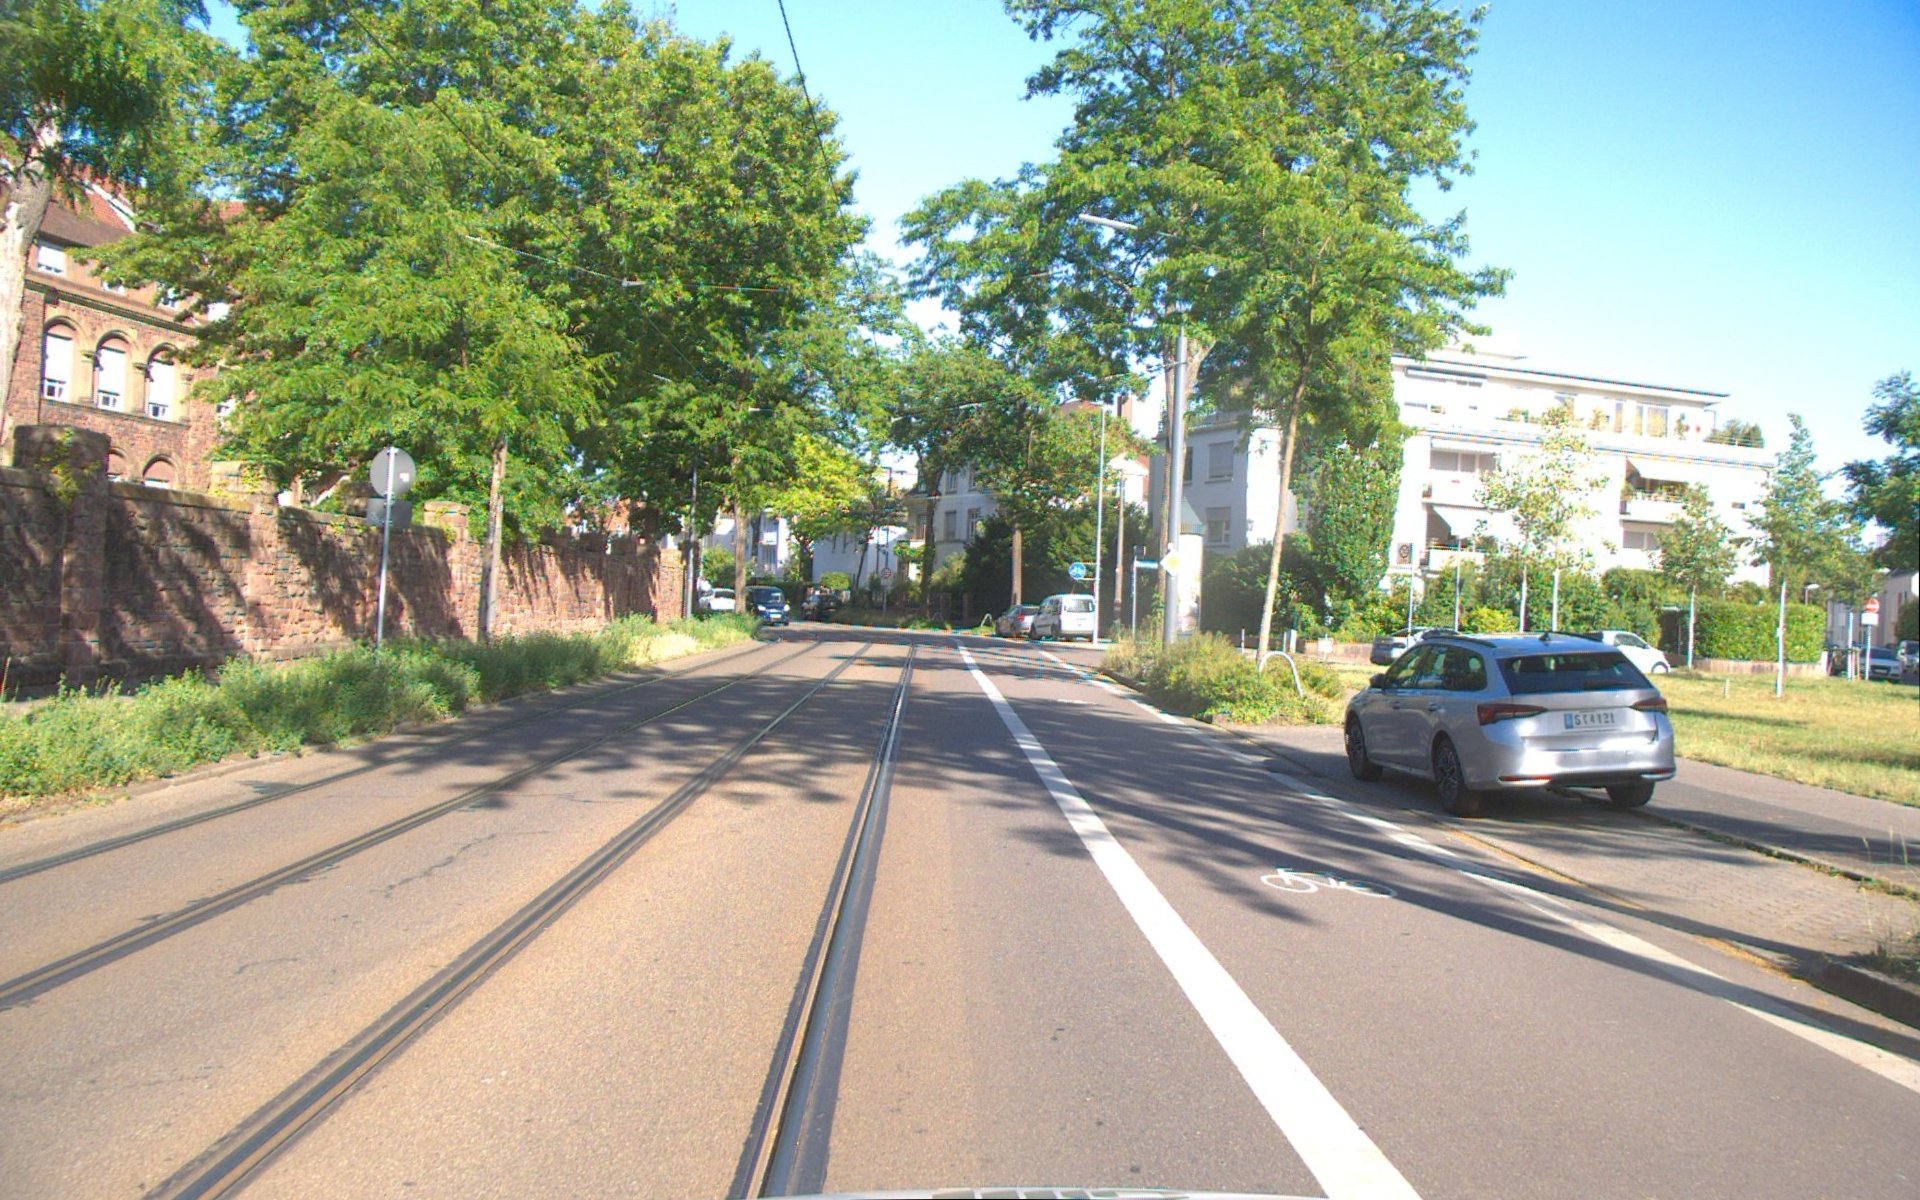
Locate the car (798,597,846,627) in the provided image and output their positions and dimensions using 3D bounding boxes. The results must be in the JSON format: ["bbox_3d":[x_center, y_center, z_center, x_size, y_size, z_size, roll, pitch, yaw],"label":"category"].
[{"bbox_3d":[-8.655,0.727,103.400,1.778,1.723,4.701,-1,1,-20],"label":"car"}]

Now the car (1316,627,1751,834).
[{"bbox_3d":[5.000,1.046,15.439,1.960,1.491,5.430,-1,0,-2],"label":"car"}]

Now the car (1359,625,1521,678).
[{"bbox_3d":[14.667,1.571,50.593,4.442,1.393,1.958,3,-1,-19],"label":"car"}]

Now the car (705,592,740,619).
[{"bbox_3d":[-15.664,0.389,108.807,1.860,1.639,4.213,2,-2,-13],"label":"car"}]

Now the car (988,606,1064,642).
[{"bbox_3d":[2.821,1.021,71.660,1.962,1.448,4.312,2,-1,-17],"label":"car"}]

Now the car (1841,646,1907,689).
[{"bbox_3d":[40.775,2.993,73.875,2.003,1.738,4.287,2,-1,21],"label":"car"}]

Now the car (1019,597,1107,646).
[{"bbox_3d":[4.035,0.828,65.795,1.990,1.777,4.731,2,0,-16],"label":"car"}]

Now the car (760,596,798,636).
[{"bbox_3d":[-8.806,0.748,80.548,1.600,1.823,4.334,2,0,-4],"label":"car"}]

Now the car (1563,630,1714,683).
[{"bbox_3d":[21.642,1.816,52.776,4.207,1.537,1.833,2,-3,-13],"label":"car"}]
